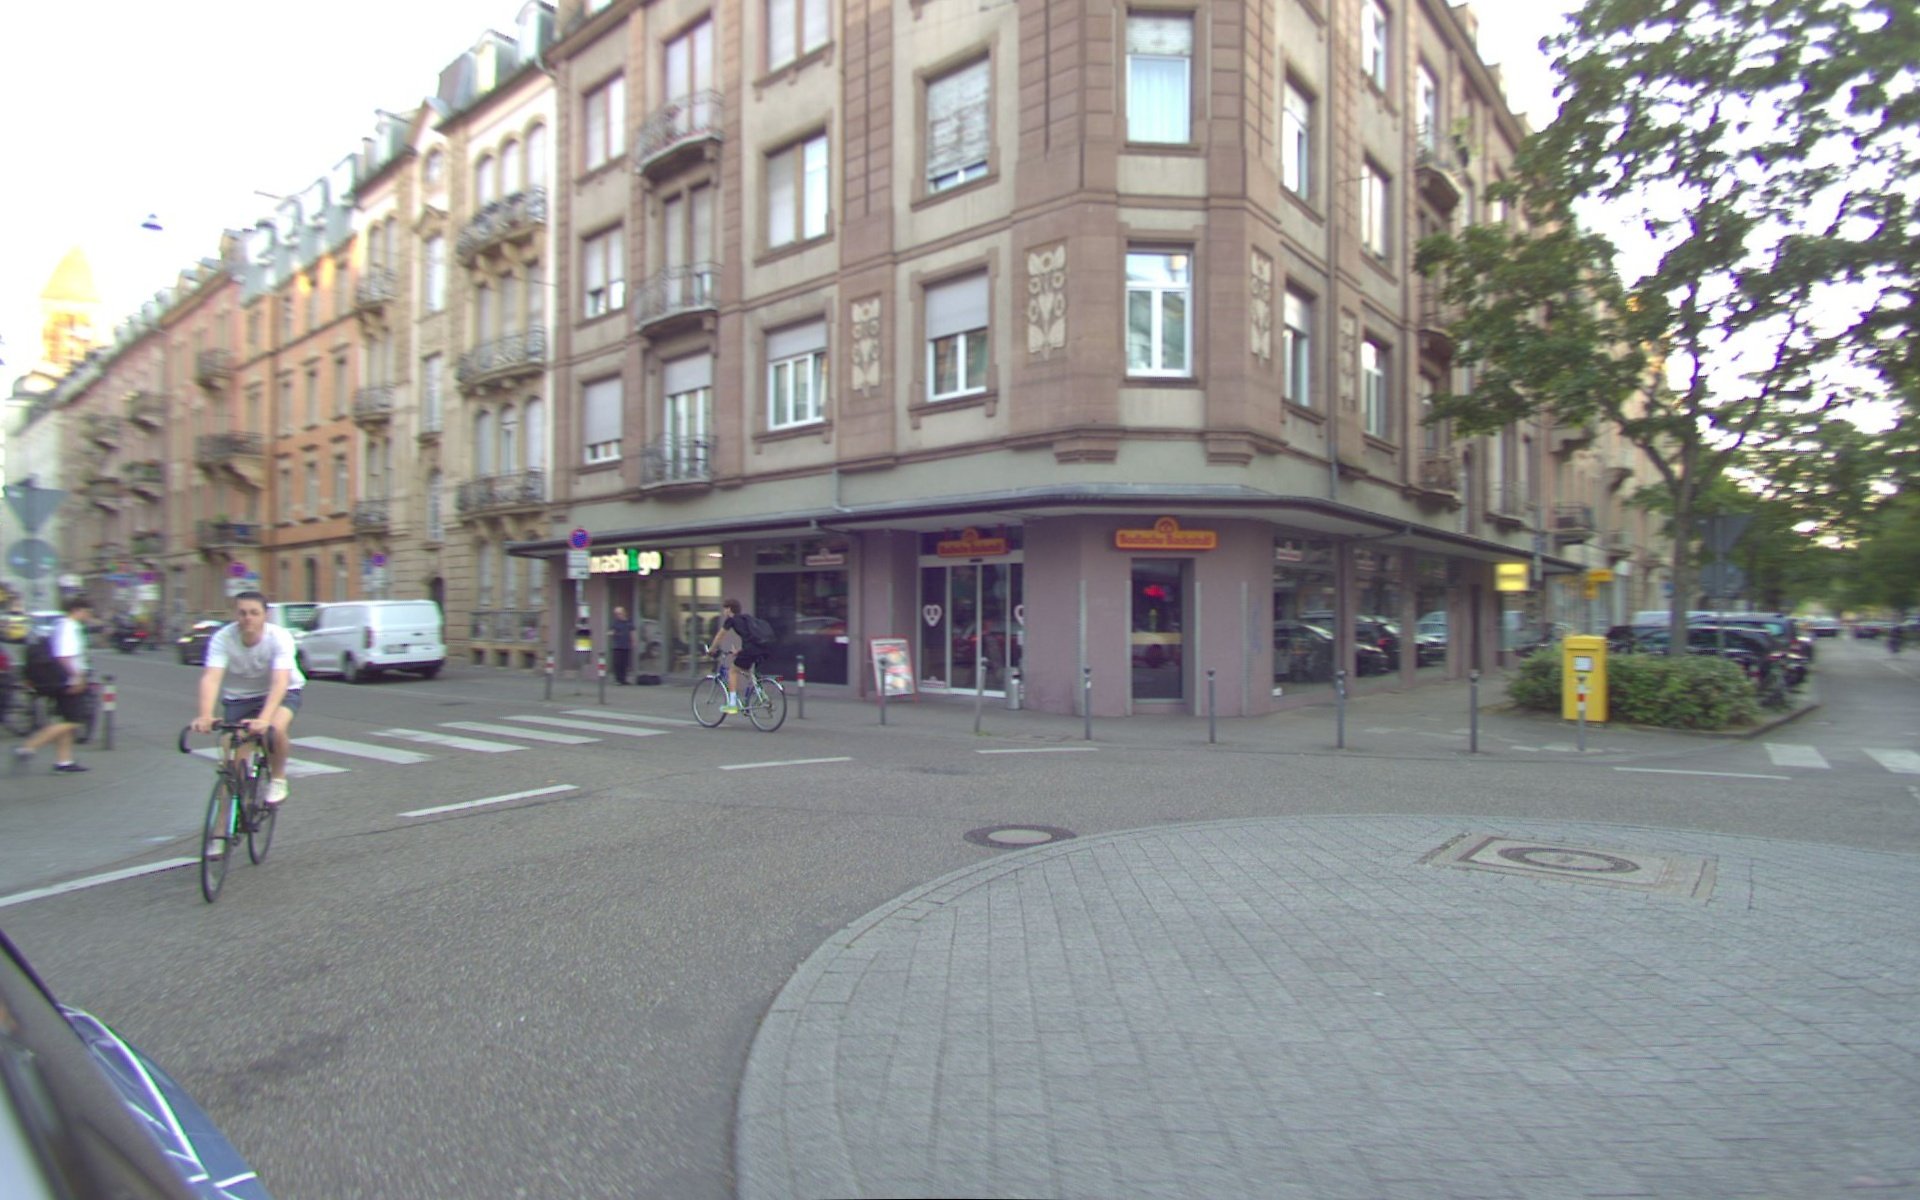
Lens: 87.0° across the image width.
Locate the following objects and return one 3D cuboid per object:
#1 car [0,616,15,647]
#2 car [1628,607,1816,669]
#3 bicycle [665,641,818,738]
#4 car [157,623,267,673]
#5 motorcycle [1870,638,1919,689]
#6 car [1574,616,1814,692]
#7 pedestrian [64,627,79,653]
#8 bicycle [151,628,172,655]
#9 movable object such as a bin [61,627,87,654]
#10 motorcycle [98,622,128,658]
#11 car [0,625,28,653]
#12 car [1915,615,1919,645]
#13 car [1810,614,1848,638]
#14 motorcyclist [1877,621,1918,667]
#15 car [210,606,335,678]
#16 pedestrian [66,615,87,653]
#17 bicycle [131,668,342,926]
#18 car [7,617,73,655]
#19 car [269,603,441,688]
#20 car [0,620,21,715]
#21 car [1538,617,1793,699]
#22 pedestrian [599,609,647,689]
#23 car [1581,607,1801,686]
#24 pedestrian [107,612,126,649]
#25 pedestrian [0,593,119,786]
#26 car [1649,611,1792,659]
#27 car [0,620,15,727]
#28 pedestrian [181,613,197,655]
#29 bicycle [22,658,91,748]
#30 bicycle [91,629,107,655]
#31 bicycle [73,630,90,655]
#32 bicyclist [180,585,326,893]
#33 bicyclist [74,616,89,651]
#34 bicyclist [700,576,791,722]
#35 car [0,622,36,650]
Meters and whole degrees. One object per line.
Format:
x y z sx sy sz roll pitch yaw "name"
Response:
-61.432 1.991 63.882 4.900 1.897 1.908 -1 -1 39 "car"
25.980 1.227 34.664 5.000 1.966 1.974 0 0 39 "car"
-2.965 1.172 13.713 1.926 1.180 0.833 0 0 27 "bicycle"
-24.335 1.513 32.882 4.167 1.482 1.819 -1 -1 38 "car"
41.994 2.793 45.415 1.164 2.029 3.954 0 0 34 "motorcycle"
17.445 1.217 24.210 4.492 1.590 1.974 0 0 39 "car"
-43.749 1.977 49.823 0.652 1.260 0.473 0 0 40 "pedestrian"
-36.546 1.883 46.319 1.837 1.168 0.407 0 0 41 "bicycle"
-43.585 1.975 49.789 0.775 1.260 0.878 0 0 40 "movable object such as a bin"
-34.882 1.647 41.661 2.014 1.415 0.677 0 0 42 "motorcycle"
-57.255 2.294 60.497 3.968 1.608 1.907 -1 -1 41 "car"
56.853 1.702 56.847 4.492 1.627 1.974 0 0 39 "car"
76.720 2.285 89.413 1.994 2.029 3.955 0 0 33 "car"
41.868 1.949 45.222 1.164 2.029 1.028 0 0 34 "motorcyclist"
-19.953 1.154 29.294 4.842 1.936 1.818 -1 -1 41 "car"
-43.067 1.665 49.330 0.718 1.827 0.593 -1 0 31 "pedestrian"
-4.211 1.054 6.023 0.512 1.164 1.788 -1 0 -19 "bicycle"
-46.361 1.759 50.967 4.581 1.802 1.753 0 0 38 "car"
-15.290 1.080 25.481 5.019 1.936 2.089 -1 -1 38 "car"
-18.106 1.083 16.303 1.907 1.701 4.222 1 -4 1 "car"
15.594 1.204 22.517 4.492 1.590 1.974 0 0 39 "car"
-7.293 1.041 21.889 0.736 1.691 0.701 -1 0 42 "pedestrian"
18.910 1.119 26.312 4.492 1.844 1.974 0 0 39 "car"
-41.713 1.504 50.057 0.673 1.824 0.962 -1 0 -42 "pedestrian"
-9.046 0.824 9.962 0.865 1.783 0.939 0 0 31 "pedestrian"
33.717 1.484 44.971 5.000 1.966 1.974 0 0 39 "car"
-15.813 1.041 13.844 1.673 1.640 4.038 -1 -3 8 "car"
-33.524 1.477 44.005 0.642 1.803 0.458 0 0 43 "pedestrian"
-11.875 1.327 13.292 1.549 1.071 0.361 0 0 36 "bicycle"
-41.003 1.967 48.174 0.460 1.164 2.002 -1 0 -43 "bicycle"
-40.829 1.973 47.029 1.520 1.076 0.460 0 0 43 "bicycle"
-4.237 0.774 6.115 0.520 1.716 0.792 -1 0 -20 "bicyclist"
-40.770 1.558 46.970 0.487 1.602 0.460 0 0 43 "bicyclist"
-2.886 0.634 13.667 0.874 1.890 0.833 -1 0 26 "bicyclist"
-54.005 2.045 57.630 3.791 1.541 1.687 -1 -1 41 "car"
